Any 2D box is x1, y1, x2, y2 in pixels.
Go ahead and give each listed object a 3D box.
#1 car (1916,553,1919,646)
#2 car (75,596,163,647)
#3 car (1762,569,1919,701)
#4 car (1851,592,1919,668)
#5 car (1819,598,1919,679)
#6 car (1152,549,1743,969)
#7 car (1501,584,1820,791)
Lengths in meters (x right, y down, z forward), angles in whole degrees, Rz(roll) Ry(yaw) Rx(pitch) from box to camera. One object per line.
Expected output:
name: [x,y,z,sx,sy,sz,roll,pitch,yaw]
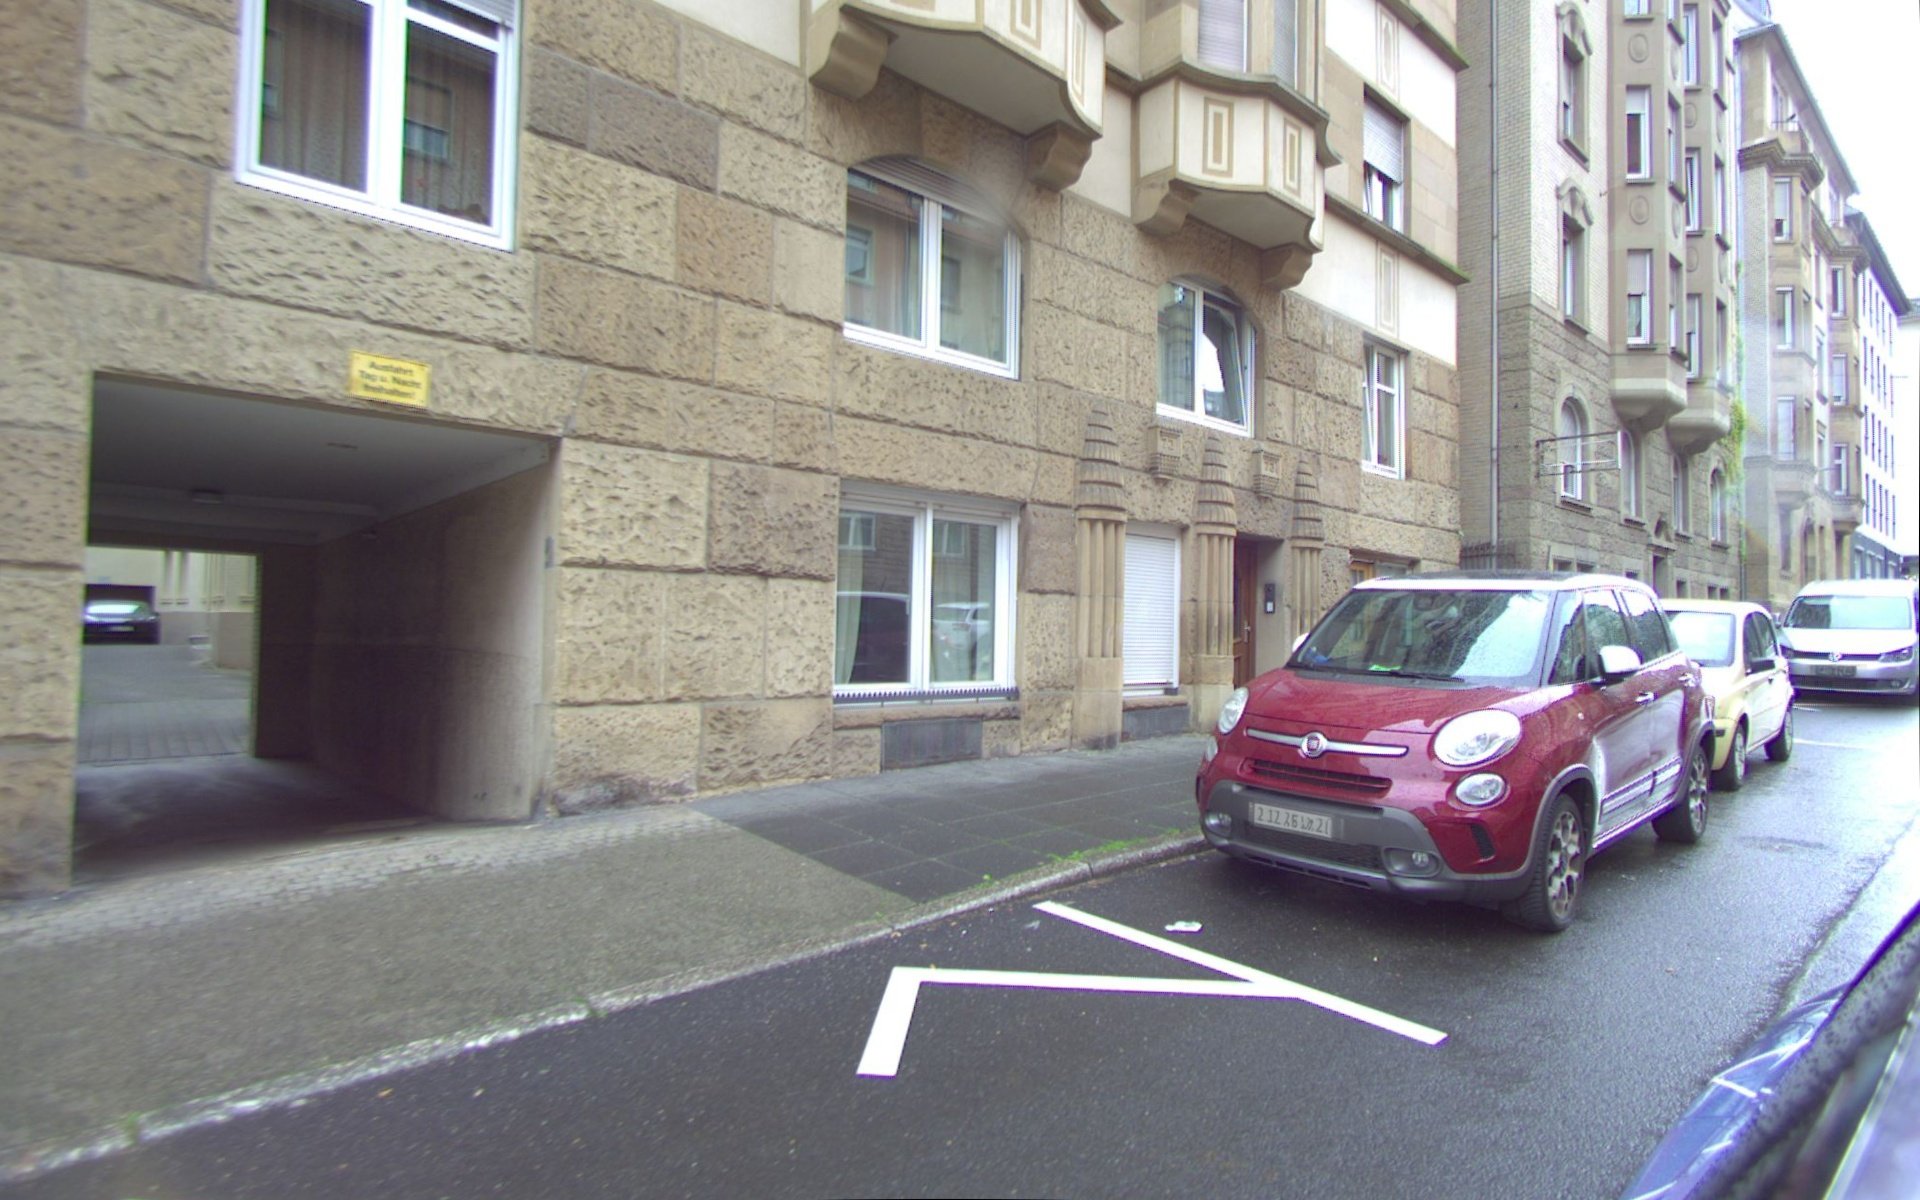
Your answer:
car: [29.484,-0.032,29.154,6.042,2.567,1.991,0,-1,-39]
car: [-24.770,0.578,29.758,1.765,1.363,4.008,-1,1,-43]
car: [13.947,0.471,15.591,3.893,1.791,1.809,0,0,-41]
car: [20.940,0.606,21.913,3.987,1.544,1.933,0,-1,-41]
car: [17.751,0.661,18.960,3.912,1.406,1.929,0,-1,-41]
car: [3.034,0.590,5.894,3.932,1.621,1.772,0,1,-42]
car: [6.483,0.650,9.243,3.471,1.530,1.630,0,-1,-42]
